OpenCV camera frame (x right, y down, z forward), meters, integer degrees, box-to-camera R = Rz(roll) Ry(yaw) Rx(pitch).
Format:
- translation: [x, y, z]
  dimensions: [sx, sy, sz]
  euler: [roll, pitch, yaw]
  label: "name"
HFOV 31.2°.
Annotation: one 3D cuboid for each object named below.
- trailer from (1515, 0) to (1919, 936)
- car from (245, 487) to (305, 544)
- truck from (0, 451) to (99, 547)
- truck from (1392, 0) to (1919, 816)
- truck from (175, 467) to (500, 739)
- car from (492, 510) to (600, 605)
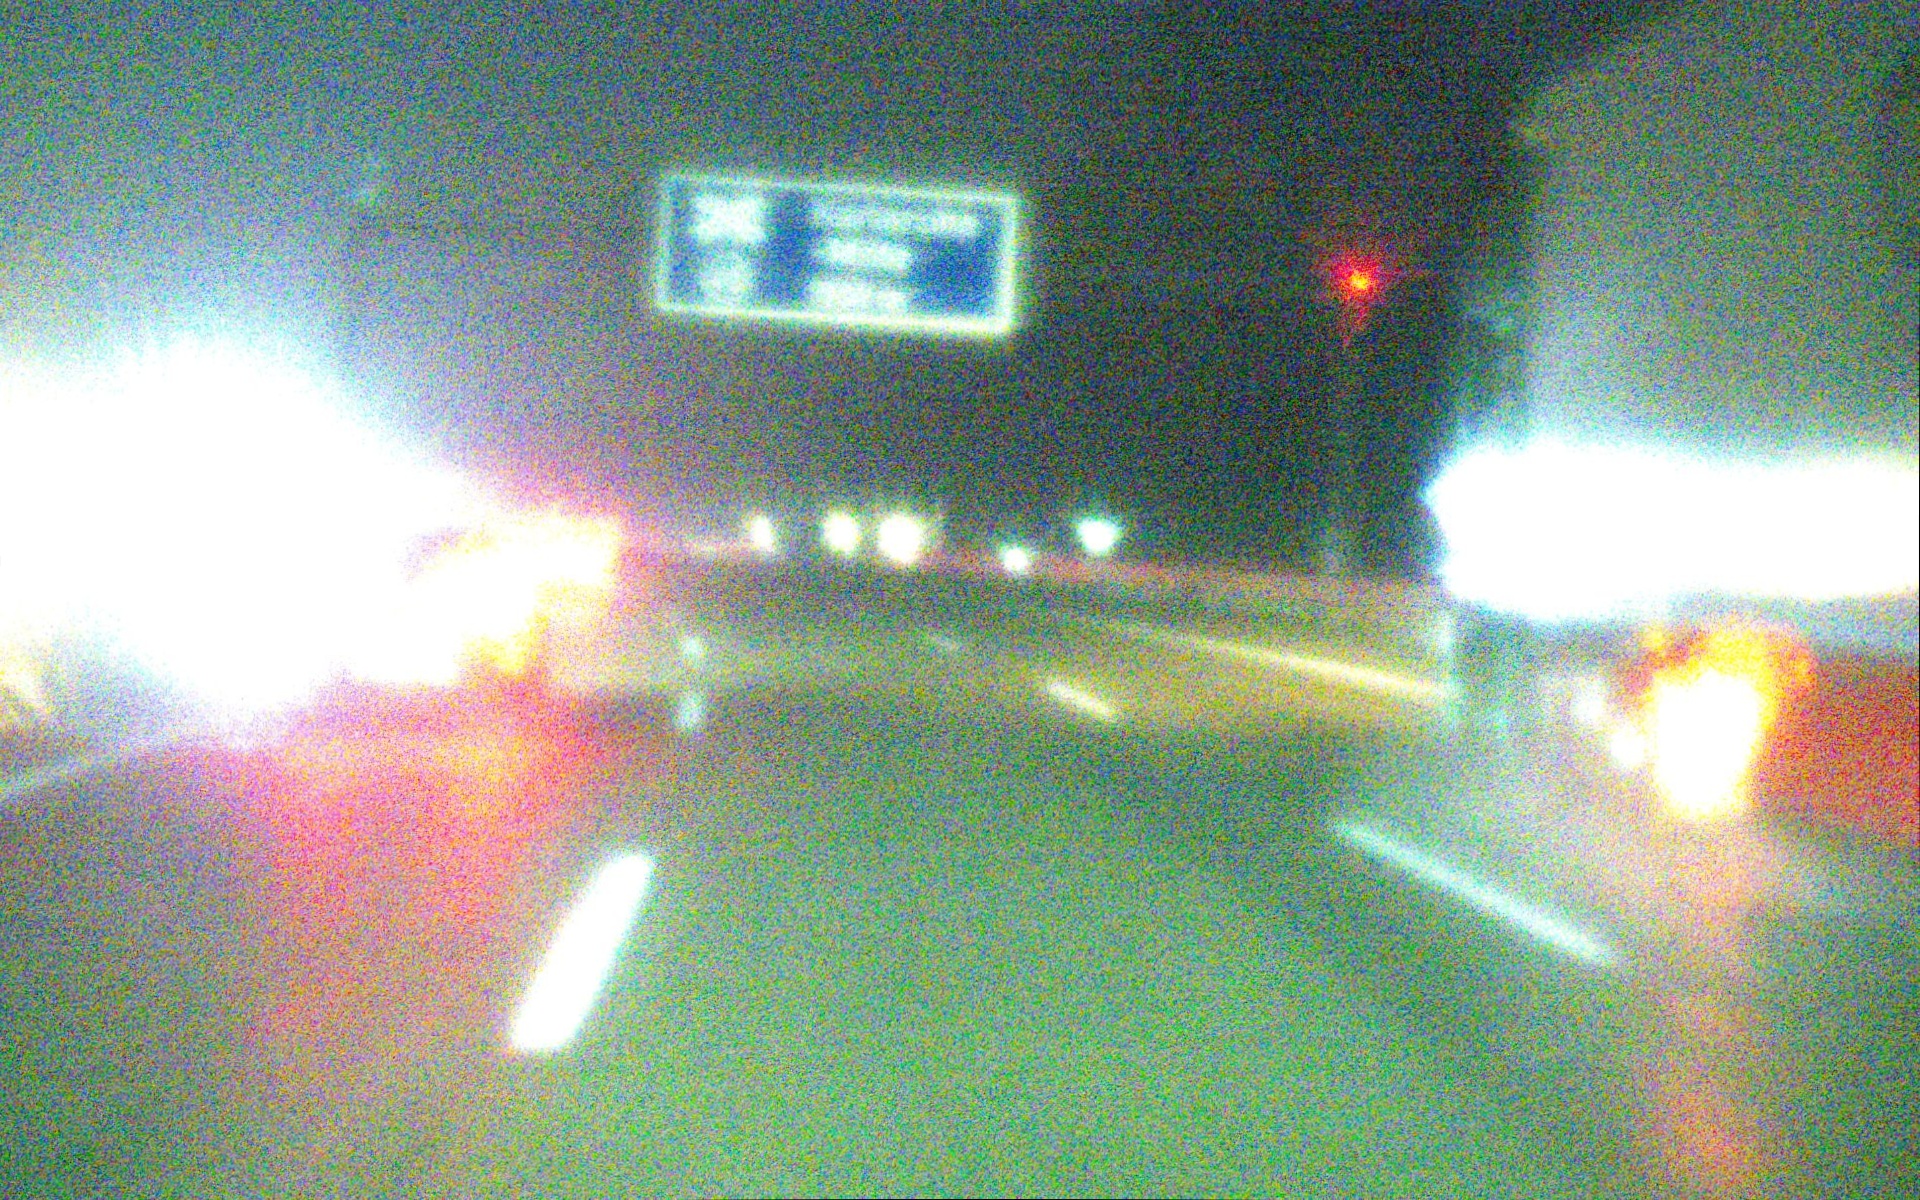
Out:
- translation: [4.898, -0.872, 12.592]
  dimensions: [2.739, 4.233, 13.374]
  euler: [1, 2, -3]
  label: "trailer"
- translation: [-27.809, -3.456, 139.690]
  dimensions: [1.993, 2.006, 5.198]
  euler: [4, 2, -9]
  label: "car"
- translation: [-27.781, -3.055, 104.211]
  dimensions: [2.285, 2.662, 6.123]
  euler: [4, 1, -7]
  label: "truck"
- translation: [4.442, -1.110, 19.933]
  dimensions: [2.710, 4.226, 5.294]
  euler: [3, 1, -3]
  label: "truck"
- translation: [-5.302, -0.102, 30.163]
  dimensions: [2.144, 2.070, 6.605]
  euler: [0, 3, -4]
  label: "truck"
- translation: [-9.830, -1.038, 81.941]
  dimensions: [1.993, 2.006, 4.001]
  euler: [4, 2, -1]
  label: "car"
